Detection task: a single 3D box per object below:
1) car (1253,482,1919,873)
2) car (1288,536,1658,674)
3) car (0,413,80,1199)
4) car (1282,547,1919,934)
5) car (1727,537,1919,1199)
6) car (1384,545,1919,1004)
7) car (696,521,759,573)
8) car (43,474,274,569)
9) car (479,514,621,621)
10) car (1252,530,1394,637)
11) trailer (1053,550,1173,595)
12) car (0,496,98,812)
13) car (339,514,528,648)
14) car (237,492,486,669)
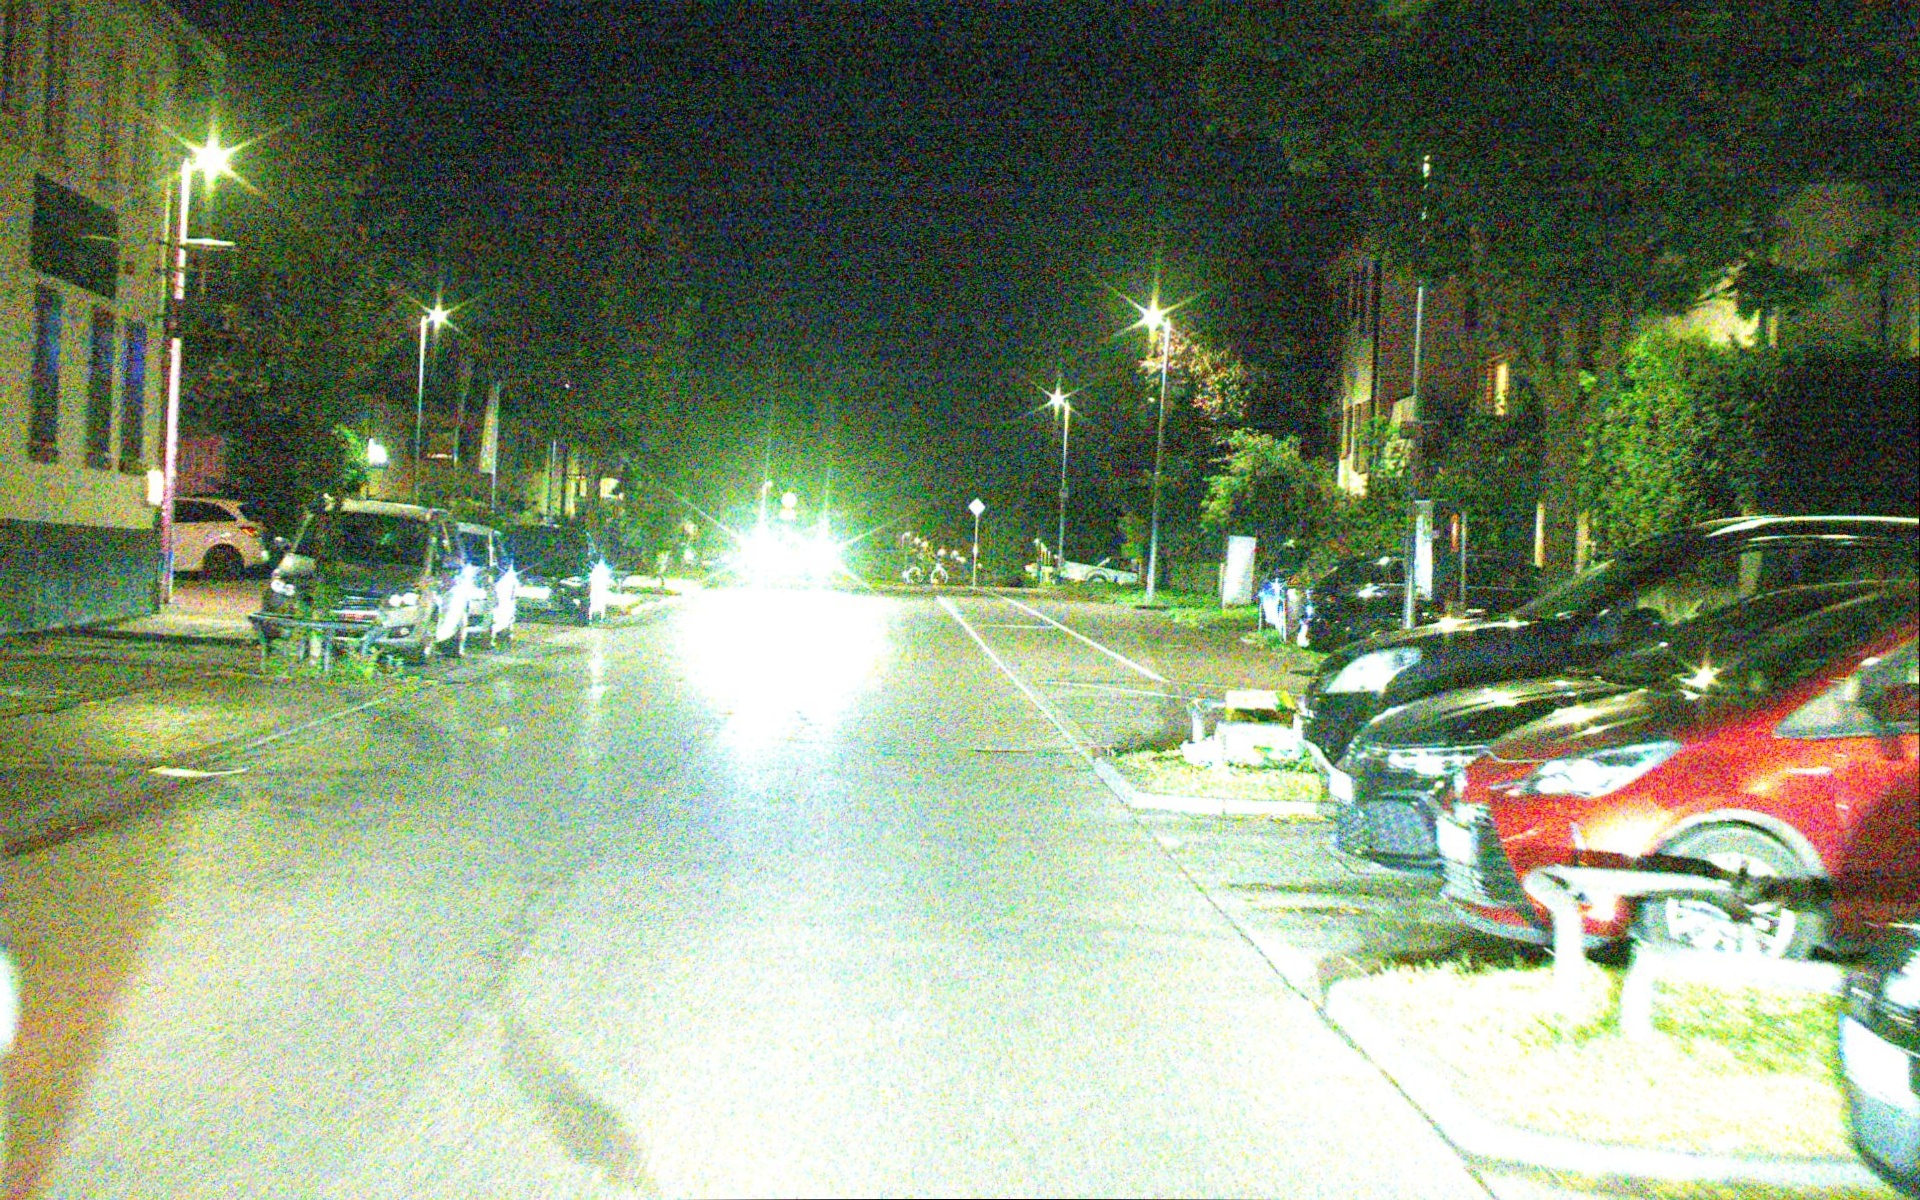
[{"bbox_3d":[3.727,0.368,17.700,4.355,1.810,2.031,2,1,4],"label":"car"},{"bbox_3d":[5.816,0.042,39.299,3.904,1.481,1.833,1,1,-1],"label":"car"},{"bbox_3d":[-2.561,0.538,4.600,1.719,1.709,3.961,1,1,0],"label":"car"},{"bbox_3d":[3.520,0.584,14.990,3.915,1.508,1.855,1,1,-4],"label":"car"},{"bbox_3d":[3.723,0.700,6.960,3.916,1.546,1.987,2,1,3],"label":"car"},{"bbox_3d":[3.655,0.613,12.521,3.915,1.509,1.855,1,0,-2],"label":"car"},{"bbox_3d":[-7.540,-1.723,111.733,1.672,1.585,3.987,3,1,0],"label":"car"},{"bbox_3d":[-14.688,-1.445,63.190,3.986,1.697,1.949,0,1,-8],"label":"car"},{"bbox_3d":[-6.141,-0.522,51.859,1.749,1.463,4.009,3,1,-2],"label":"car"},{"bbox_3d":[5.592,-0.284,53.377,1.639,1.554,3.679,2,1,-2],"label":"car"},{"bbox_3d":[4.611,-0.839,104.208,3.432,0.999,1.954,5,1,-1],"label":"trailer"},{"bbox_3d":[-5.754,0.224,16.775,2.115,1.542,4.478,3,1,-3],"label":"car"},{"bbox_3d":[-6.349,-0.266,41.802,1.770,1.463,3.967,3,1,-2],"label":"car"},{"bbox_3d":[-6.222,-0.245,36.209,1.928,1.631,4.471,3,1,-2],"label":"car"}]
